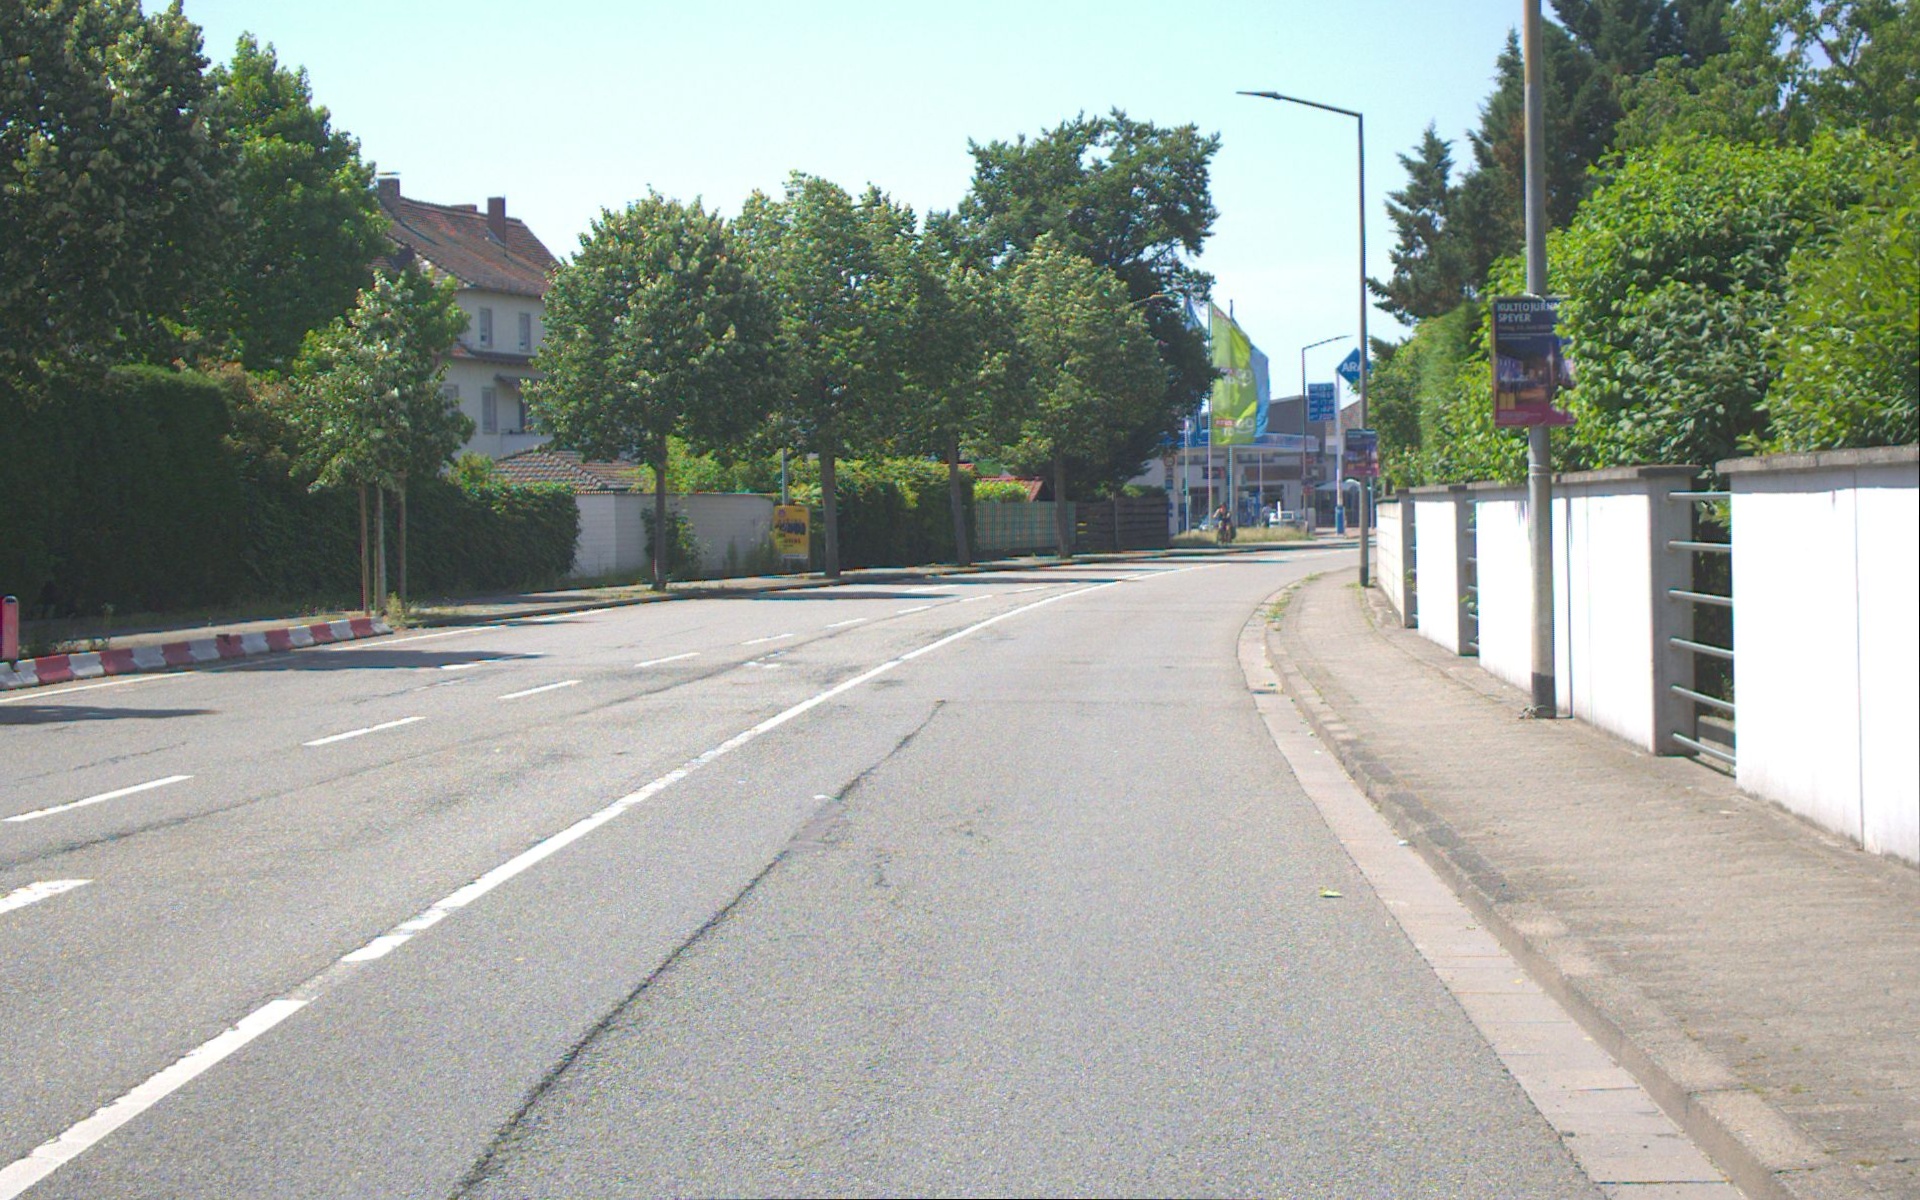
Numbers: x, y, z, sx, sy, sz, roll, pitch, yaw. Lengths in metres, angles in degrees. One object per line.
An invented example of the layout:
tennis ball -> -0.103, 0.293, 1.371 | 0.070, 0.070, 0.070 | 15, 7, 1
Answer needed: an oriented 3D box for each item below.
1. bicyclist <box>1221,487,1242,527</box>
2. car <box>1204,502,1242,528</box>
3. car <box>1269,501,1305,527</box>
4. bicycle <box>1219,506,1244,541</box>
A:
bicyclist -> 9.577, -3.273, 121.386 | 0.628, 1.404, 0.676 | -1, 2, 13
car -> 15.499, -5.029, 202.479 | 1.618, 1.415, 3.710 | -2, 1, 13
car -> 19.230, -5.070, 202.095 | 1.618, 1.415, 3.710 | -2, 1, 13
bicycle -> 9.587, -2.701, 121.411 | 0.632, 1.176, 1.815 | -1, 2, 13
